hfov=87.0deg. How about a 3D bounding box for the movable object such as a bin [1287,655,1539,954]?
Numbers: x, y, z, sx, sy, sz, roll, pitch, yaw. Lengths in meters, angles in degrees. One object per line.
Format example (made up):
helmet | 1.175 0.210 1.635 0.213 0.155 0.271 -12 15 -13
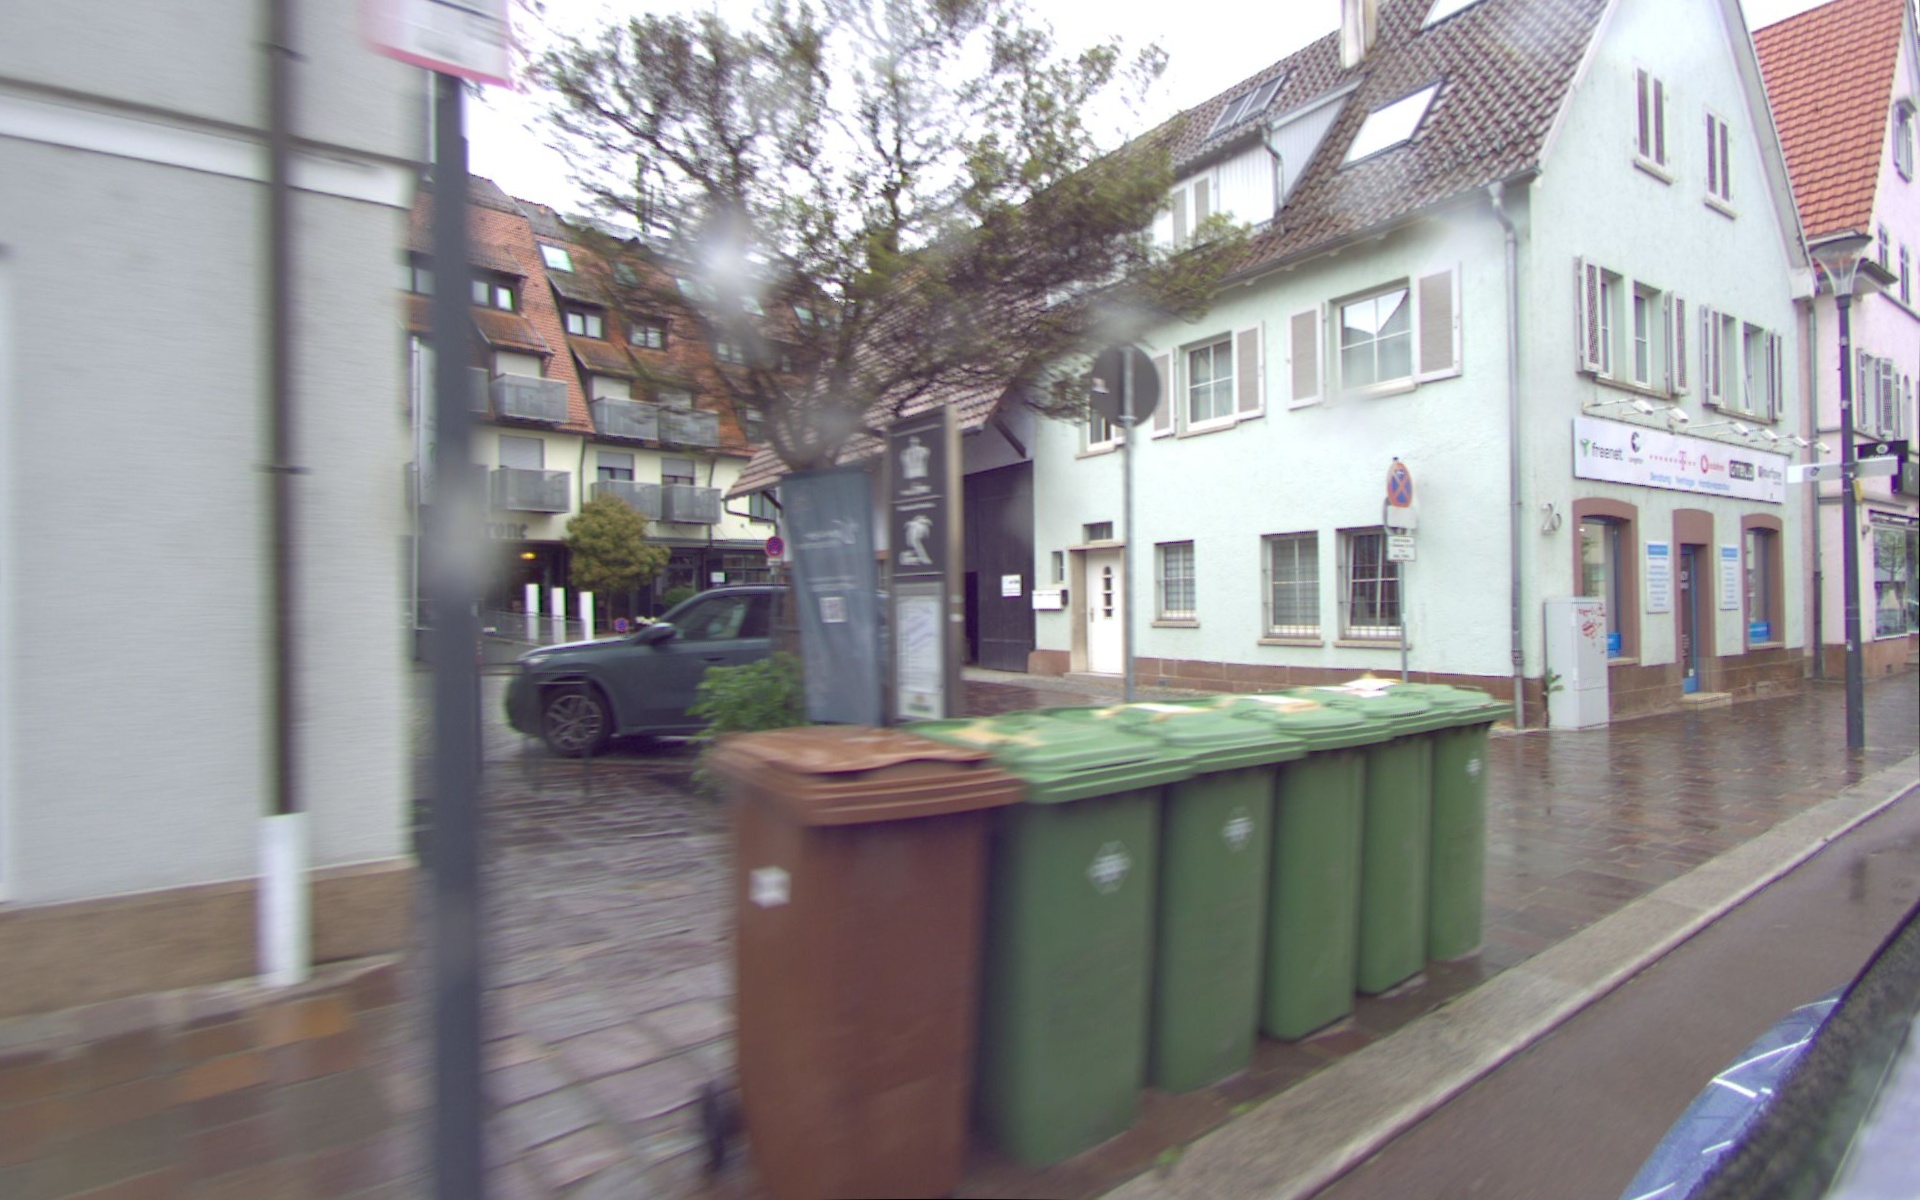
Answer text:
movable object such as a bin | 1.937 0.809 4.370 0.588 1.093 0.770 -2 -1 -37

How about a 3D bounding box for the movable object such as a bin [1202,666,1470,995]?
movable object such as a bin | 1.463 0.827 3.988 0.589 1.077 0.756 -2 -1 -37

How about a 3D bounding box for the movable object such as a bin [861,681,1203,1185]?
movable object such as a bin | 0.186 0.825 2.873 0.600 1.112 0.737 -2 0 -38

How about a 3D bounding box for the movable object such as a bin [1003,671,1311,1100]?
movable object such as a bin | 0.620 0.821 3.270 0.600 1.112 0.737 -2 0 -38

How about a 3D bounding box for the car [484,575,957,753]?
car | -2.204 0.592 10.209 4.307 1.620 1.888 0 0 -1

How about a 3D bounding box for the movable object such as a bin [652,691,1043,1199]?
movable object such as a bin | -0.291 0.826 2.484 0.645 1.104 0.754 0 0 -41

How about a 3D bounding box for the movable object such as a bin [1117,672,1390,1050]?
movable object such as a bin | 1.017 0.837 3.579 0.511 1.105 0.731 -2 -1 -37
